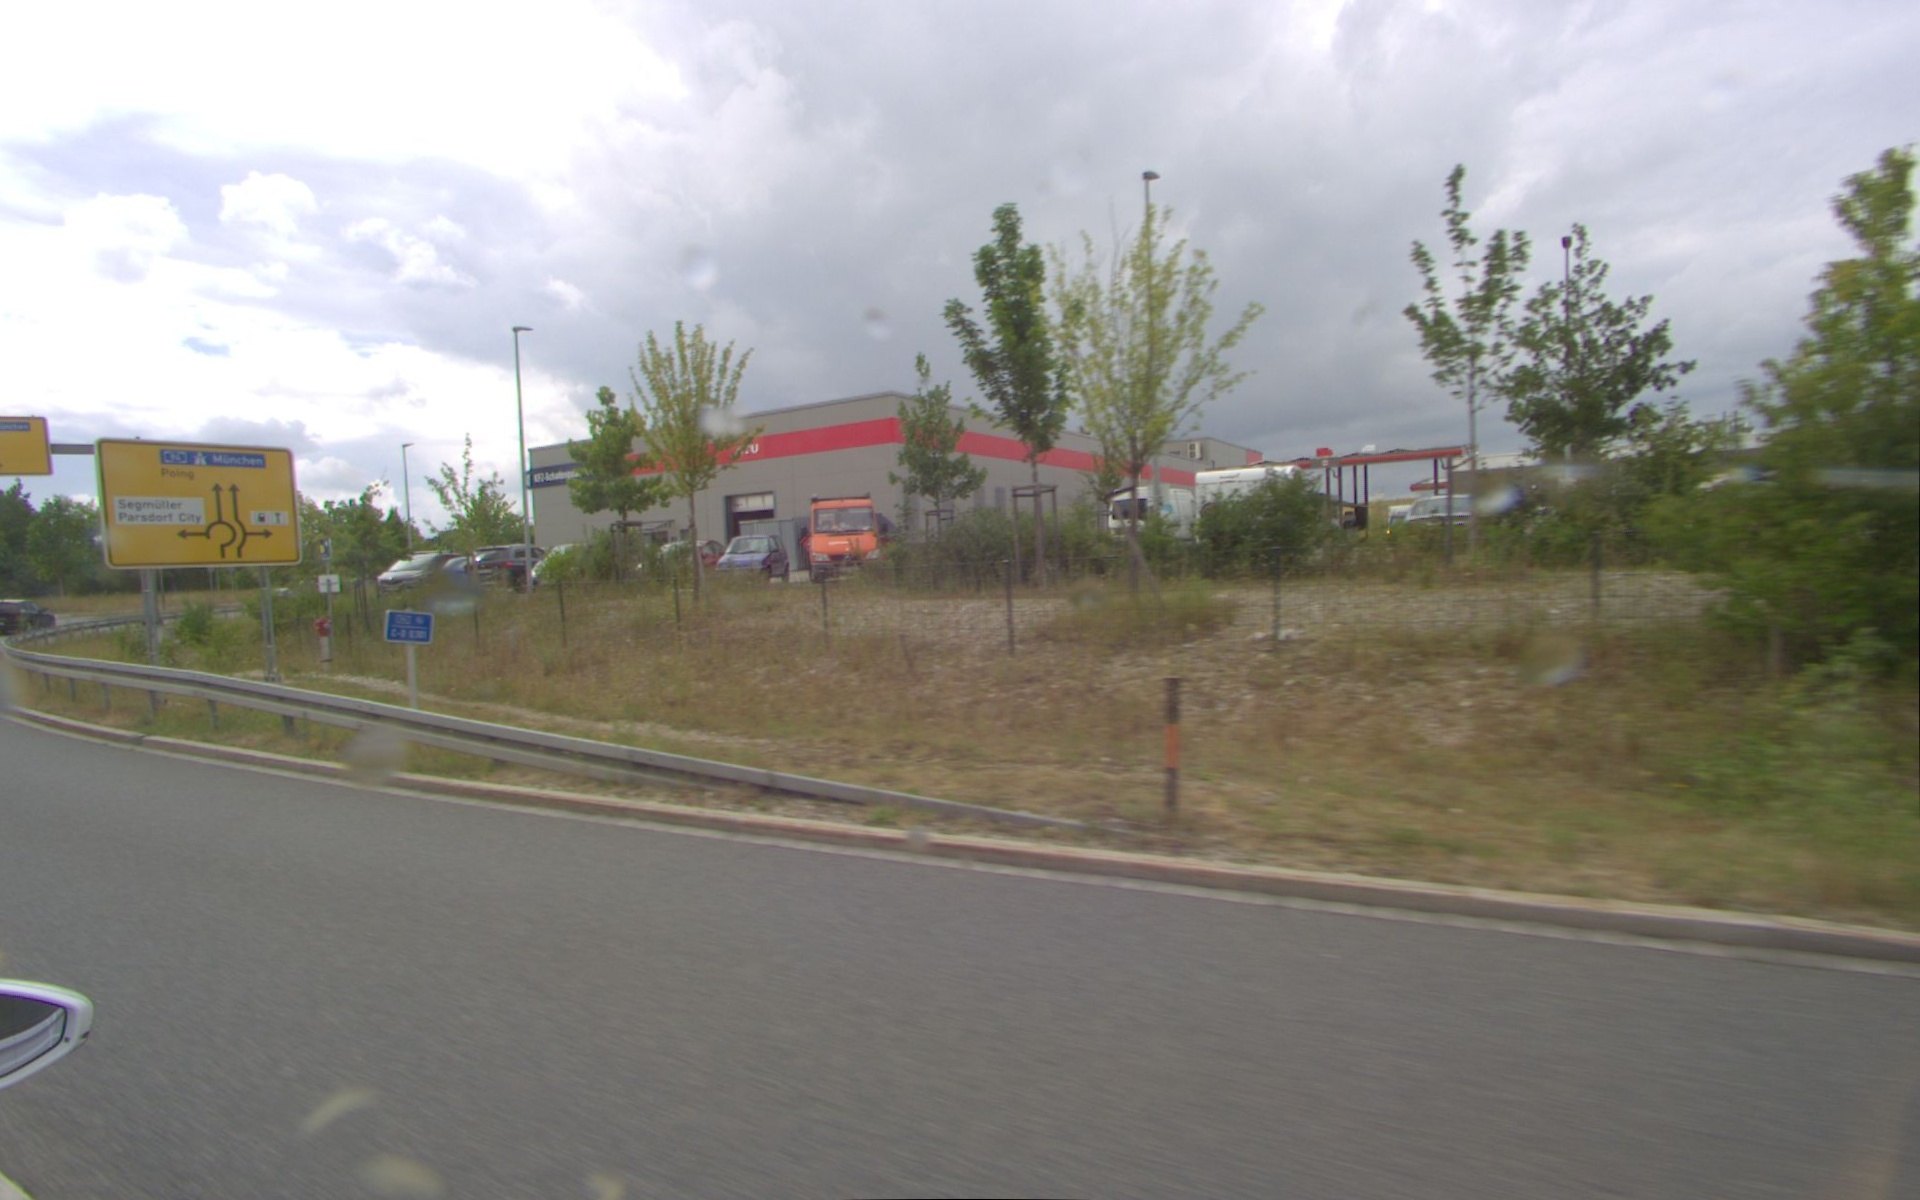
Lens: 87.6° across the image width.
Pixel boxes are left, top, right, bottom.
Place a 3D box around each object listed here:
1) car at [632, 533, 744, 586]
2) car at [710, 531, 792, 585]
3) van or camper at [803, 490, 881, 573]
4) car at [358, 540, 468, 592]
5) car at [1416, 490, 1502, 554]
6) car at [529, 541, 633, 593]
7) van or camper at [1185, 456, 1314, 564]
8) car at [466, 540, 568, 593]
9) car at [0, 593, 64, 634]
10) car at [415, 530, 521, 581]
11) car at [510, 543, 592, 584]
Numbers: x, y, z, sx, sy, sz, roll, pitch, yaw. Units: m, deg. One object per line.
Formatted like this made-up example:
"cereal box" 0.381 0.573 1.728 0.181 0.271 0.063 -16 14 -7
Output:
"car" -8.166 -1.191 30.548 1.671 1.419 4.585 -2 1 6
"car" -5.885 -1.228 28.503 1.471 1.401 3.303 -2 4 2
"van or camper" -3.159 -1.793 27.645 1.778 2.024 4.673 -2 1 -3
"car" -20.407 -1.207 37.563 1.769 1.806 4.169 0 0 1
"car" 15.354 -2.381 30.718 1.756 1.744 4.033 -1 3 35
"car" -12.602 -1.152 33.574 1.659 1.540 3.789 -1 4 6
"van or camper" 10.182 -3.001 34.567 2.455 3.223 7.695 0 4 30
"car" -15.185 -1.100 34.531 1.489 1.675 3.733 0 0 8
"car" -39.497 0.576 41.893 1.844 1.627 3.722 -2 1 -23
"car" -17.895 -1.565 36.594 1.699 1.675 3.857 0 0 6
"car" -20.876 -1.870 51.084 3.912 1.837 1.695 -1 5 31
